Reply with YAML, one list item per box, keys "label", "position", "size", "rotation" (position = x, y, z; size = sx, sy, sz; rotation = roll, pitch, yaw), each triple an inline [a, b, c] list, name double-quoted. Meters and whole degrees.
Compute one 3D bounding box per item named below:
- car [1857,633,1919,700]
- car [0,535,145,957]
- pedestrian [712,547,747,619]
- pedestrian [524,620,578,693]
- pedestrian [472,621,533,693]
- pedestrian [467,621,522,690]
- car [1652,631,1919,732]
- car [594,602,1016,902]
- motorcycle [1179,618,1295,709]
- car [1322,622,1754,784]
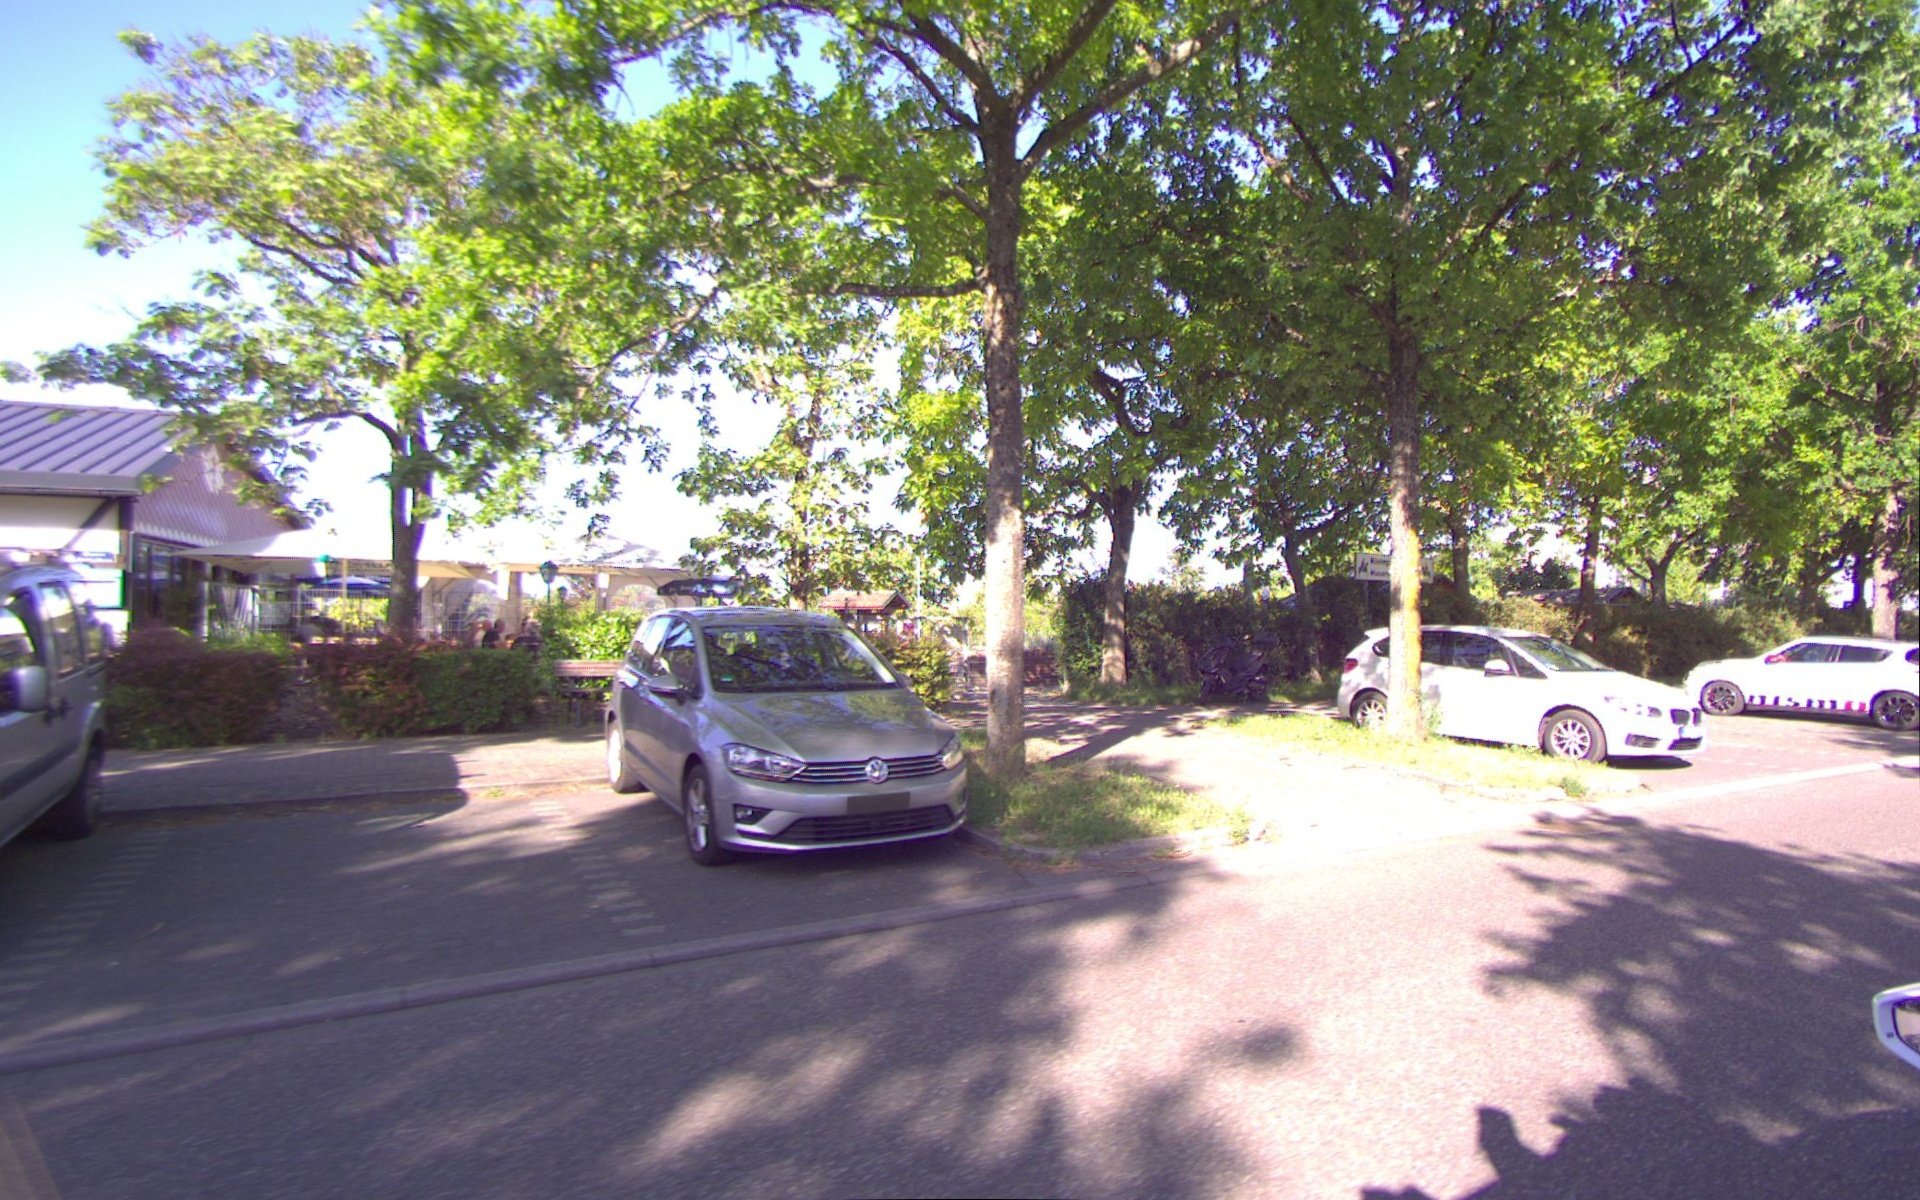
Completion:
- label: "car"
  position: [24.694, 1.651, 23.945]
  size: [2.169, 1.579, 4.596]
  rotation: [1, 0, -35]
- label: "car"
  position: [-5.812, 0.636, 5.107]
  size: [1.976, 1.908, 4.206]
  rotation: [1, 0, -31]
- label: "pedestrian"
  position: [-4.678, -0.334, 20.377]
  size: [0.654, 1.432, 0.644]
  rotation: [1, -1, -14]
- label: "pedestrian"
  position: [-8.259, 1.121, 20.266]
  size: [0.856, 1.432, 0.663]
  rotation: [-1, -2, 40]
- label: "pedestrian"
  position: [-9.038, 1.116, 19.869]
  size: [0.653, 1.379, 0.868]
  rotation: [0, -2, 26]
- label: "pedestrian"
  position: [-9.441, 1.119, 20.395]
  size: [0.854, 1.352, 0.664]
  rotation: [1, -1, -11]
- label: "car"
  position: [15.652, 1.400, 18.461]
  size: [2.065, 1.531, 4.388]
  rotation: [1, 0, -32]
- label: "car"
  position: [-1.461, 0.835, 7.638]
  size: [1.843, 1.577, 4.117]
  rotation: [1, 0, -29]
- label: "motorcycle"
  position: [4.790, 1.067, 17.315]
  size: [1.968, 1.452, 0.733]
  rotation: [1, 2, -31]
- label: "car"
  position: [7.127, 1.140, 12.910]
  size: [2.063, 1.577, 4.392]
  rotation: [1, 0, -29]
